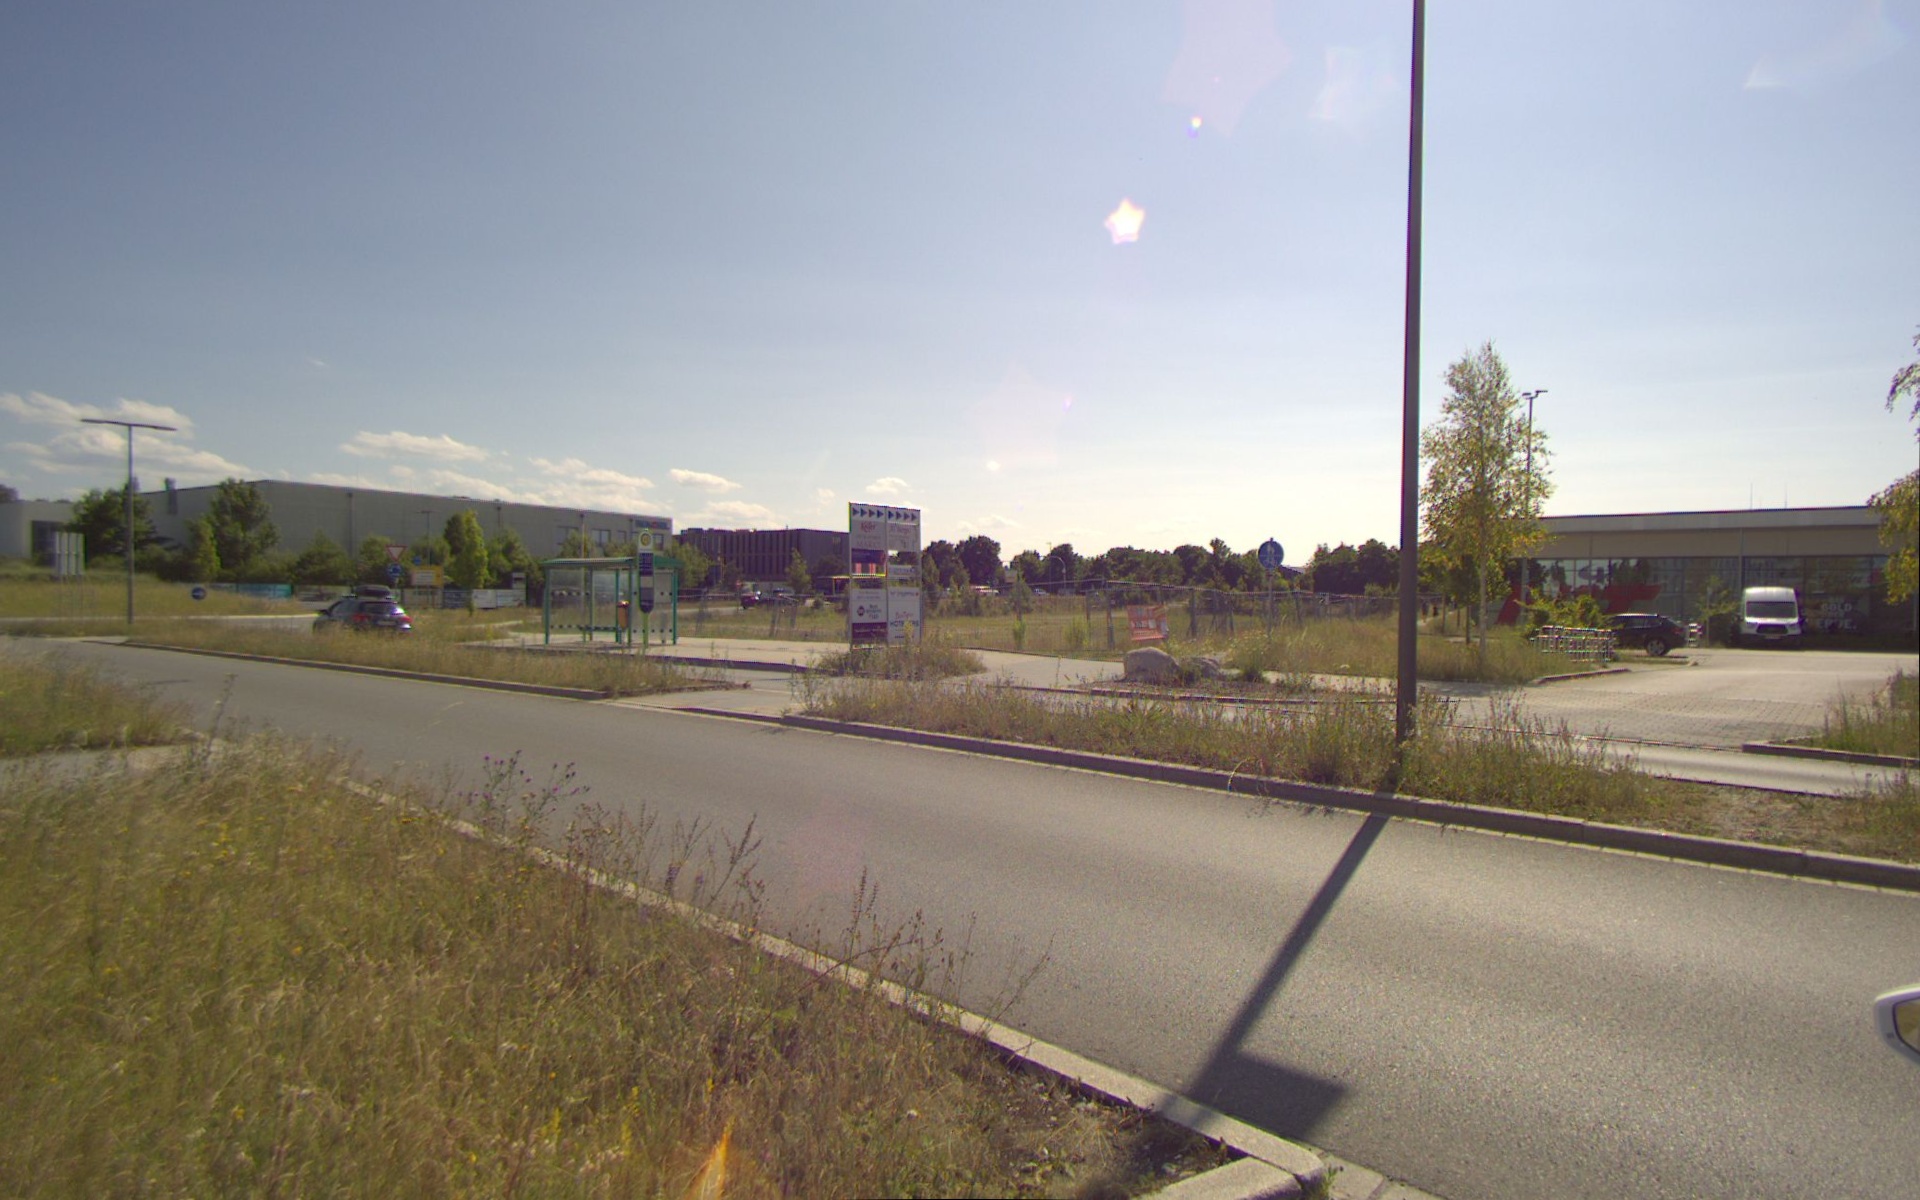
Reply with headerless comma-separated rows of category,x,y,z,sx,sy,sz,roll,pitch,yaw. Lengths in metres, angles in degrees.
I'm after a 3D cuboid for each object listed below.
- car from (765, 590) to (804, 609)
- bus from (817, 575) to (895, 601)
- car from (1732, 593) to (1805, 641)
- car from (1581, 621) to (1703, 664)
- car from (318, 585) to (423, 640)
car,-18.171,-0.050,104.063,1.796,1.884,3.991,2,0,31
bus,-11.801,-1.353,115.257,2.535,2.772,11.544,2,1,31
car,36.227,0.733,45.159,2.193,2.003,6.672,1,0,36
car,26.122,1.600,38.529,3.783,1.442,1.765,2,0,37
car,-18.271,0.353,31.063,1.985,1.537,4.144,1,0,-42
